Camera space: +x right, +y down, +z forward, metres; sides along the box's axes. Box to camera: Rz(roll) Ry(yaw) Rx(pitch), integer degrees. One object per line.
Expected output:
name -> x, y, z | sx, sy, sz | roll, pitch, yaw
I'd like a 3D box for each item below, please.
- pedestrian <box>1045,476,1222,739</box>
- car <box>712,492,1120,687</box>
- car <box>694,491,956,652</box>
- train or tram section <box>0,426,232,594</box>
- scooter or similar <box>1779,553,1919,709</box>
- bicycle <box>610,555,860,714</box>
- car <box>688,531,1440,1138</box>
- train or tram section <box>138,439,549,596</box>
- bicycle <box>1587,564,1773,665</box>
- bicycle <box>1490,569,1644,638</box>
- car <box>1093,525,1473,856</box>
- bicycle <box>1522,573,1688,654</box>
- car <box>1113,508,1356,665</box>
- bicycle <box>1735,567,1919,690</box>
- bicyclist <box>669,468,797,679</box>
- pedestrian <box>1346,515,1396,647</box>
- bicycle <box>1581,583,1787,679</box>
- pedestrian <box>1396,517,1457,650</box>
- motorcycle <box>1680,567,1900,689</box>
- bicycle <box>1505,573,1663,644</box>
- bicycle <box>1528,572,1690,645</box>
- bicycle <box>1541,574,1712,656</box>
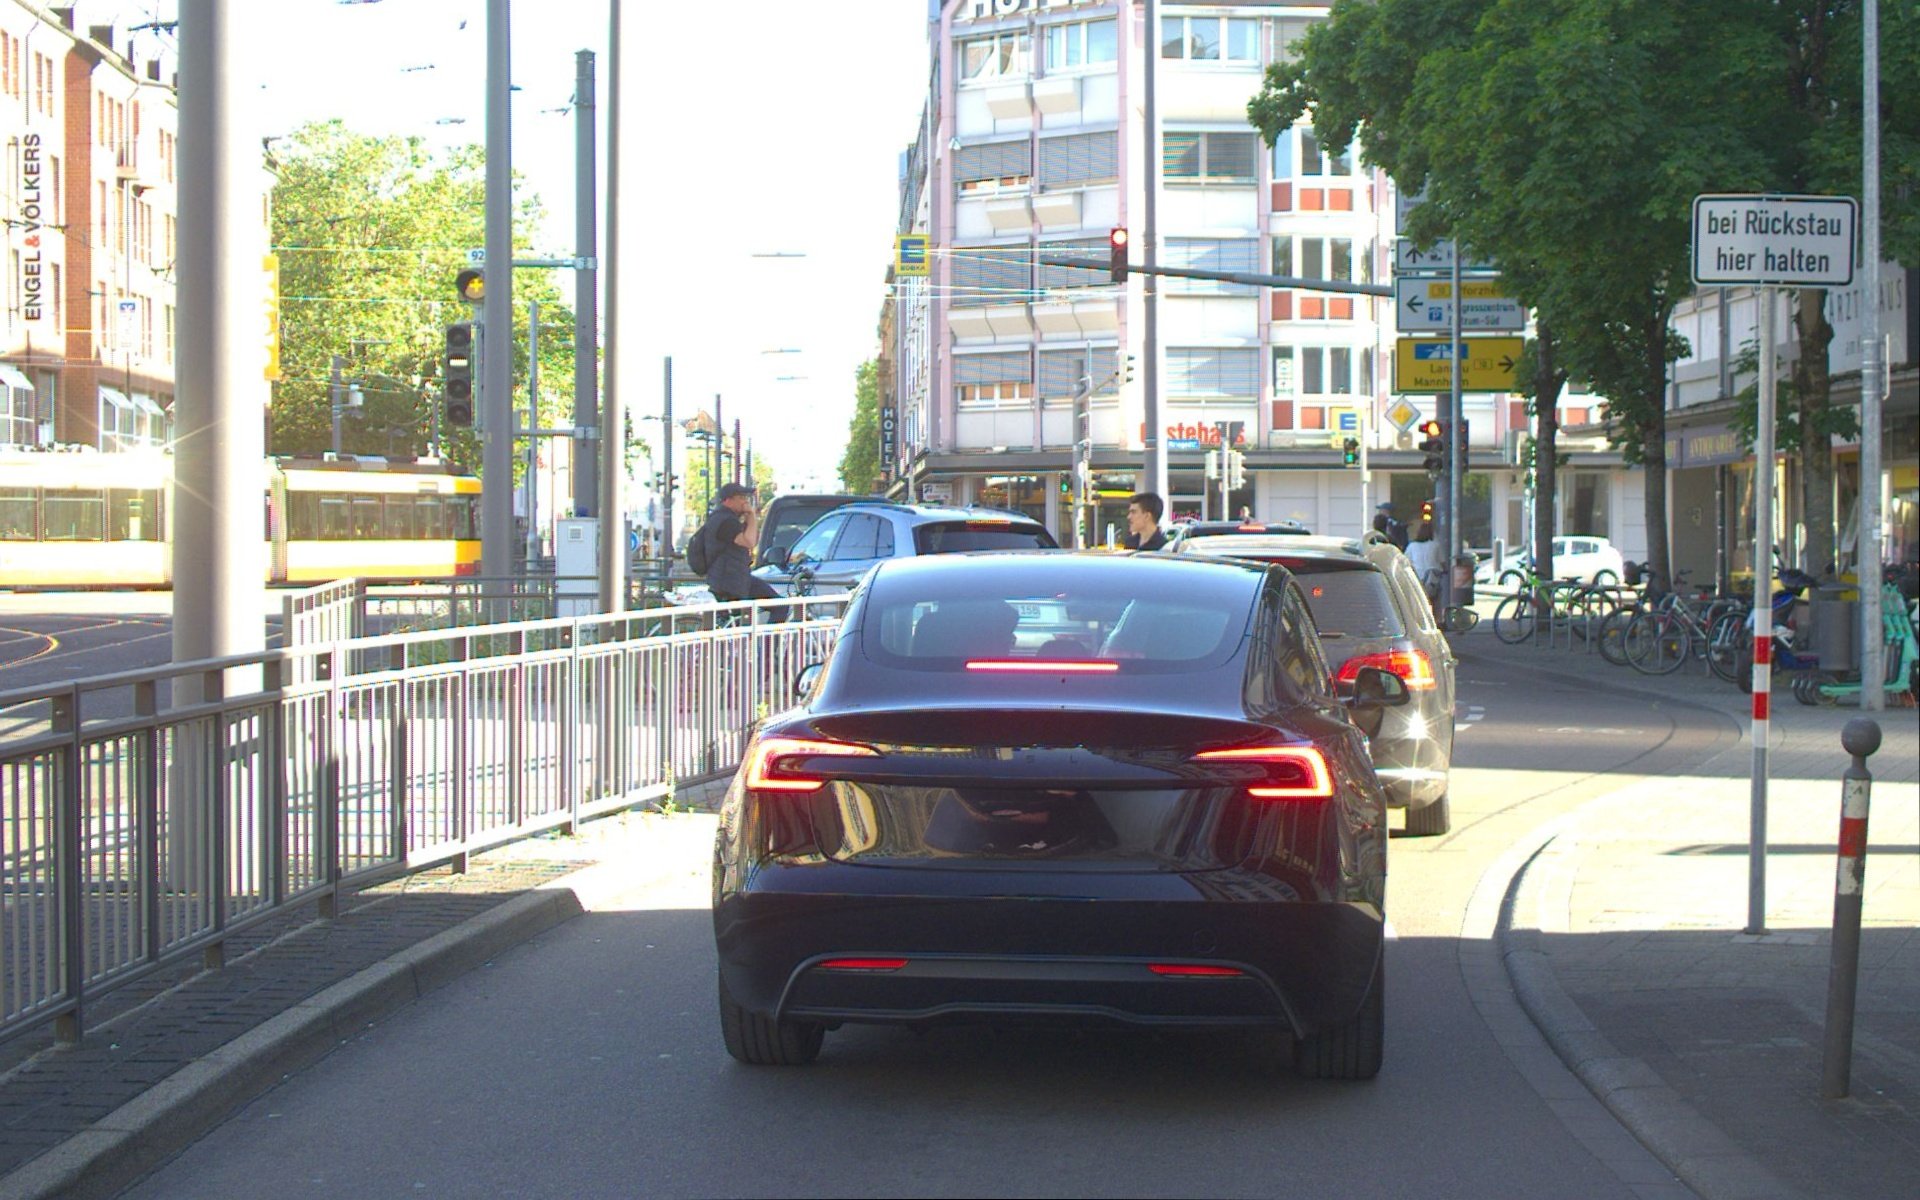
pedestrian -> 1.170, 0.050, 23.230 | 1.004, 1.736, 0.529 | 2, 1, -26
car -> -0.466, -0.131, 29.434 | 1.783, 1.514, 4.219 | 2, 1, -27
car -> -1.472, -0.321, 35.774 | 1.824, 1.514, 4.219 | 2, 1, -14
train or tram section -> -23.221, -2.137, 77.813 | 2.681, 3.703, 14.156 | 3, 1, 42
scooter or similar -> 7.854, 0.264, 29.648 | 1.408, 1.312, 0.696 | 0, -1, -27
bicycle -> -1.653, 0.250, 25.124 | 1.727, 1.084, 0.678 | 2, 1, -9
car -> 0.167, 0.562, 10.492 | 1.848, 1.479, 3.788 | 2, 1, -3
train or tram section -> -15.764, -2.023, 90.080 | 2.640, 3.706, 15.368 | 2, 1, 22
bicycle -> 7.981, 0.156, 38.157 | 1.924, 1.093, 0.555 | 1, 1, 0
bicycle -> 7.995, 0.043, 45.297 | 1.924, 0.887, 0.526 | 1, 1, 0
car -> 1.698, 0.360, 17.449 | 1.654, 1.413, 3.999 | 2, 2, 7
bicycle -> 7.909, 0.163, 42.165 | 1.924, 0.947, 0.526 | 1, 1, 0
car -> 2.844, -0.169, 36.381 | 1.824, 1.514, 3.650 | 2, 1, -7
bicycle -> 8.308, 0.266, 32.037 | 2.051, 1.118, 0.483 | 1, 1, 0
bicyclist -> -1.661, -0.194, 25.108 | 0.836, 1.494, 0.560 | 2, 1, -9
pedestrian -> 5.289, -0.254, 44.262 | 0.562, 1.677, 0.750 | 1, 1, 3
bicycle -> 7.627, 0.322, 36.253 | 2.051, 0.979, 0.483 | 1, 1, 0
pedestrian -> 5.710, -0.207, 42.102 | 0.629, 1.608, 0.643 | 1, 1, 2
motorcycle -> 8.231, 0.271, 34.117 | 1.991, 1.124, 0.596 | 2, 1, -1
bicycle -> 8.042, 0.108, 44.312 | 1.924, 0.887, 0.526 | 1, 1, 0
bicycle -> 8.167, 0.110, 43.294 | 1.924, 0.885, 0.526 | 1, 1, 0
bicycle -> 7.971, 0.179, 41.150 | 1.924, 0.947, 0.526 | 1, 1, 0
